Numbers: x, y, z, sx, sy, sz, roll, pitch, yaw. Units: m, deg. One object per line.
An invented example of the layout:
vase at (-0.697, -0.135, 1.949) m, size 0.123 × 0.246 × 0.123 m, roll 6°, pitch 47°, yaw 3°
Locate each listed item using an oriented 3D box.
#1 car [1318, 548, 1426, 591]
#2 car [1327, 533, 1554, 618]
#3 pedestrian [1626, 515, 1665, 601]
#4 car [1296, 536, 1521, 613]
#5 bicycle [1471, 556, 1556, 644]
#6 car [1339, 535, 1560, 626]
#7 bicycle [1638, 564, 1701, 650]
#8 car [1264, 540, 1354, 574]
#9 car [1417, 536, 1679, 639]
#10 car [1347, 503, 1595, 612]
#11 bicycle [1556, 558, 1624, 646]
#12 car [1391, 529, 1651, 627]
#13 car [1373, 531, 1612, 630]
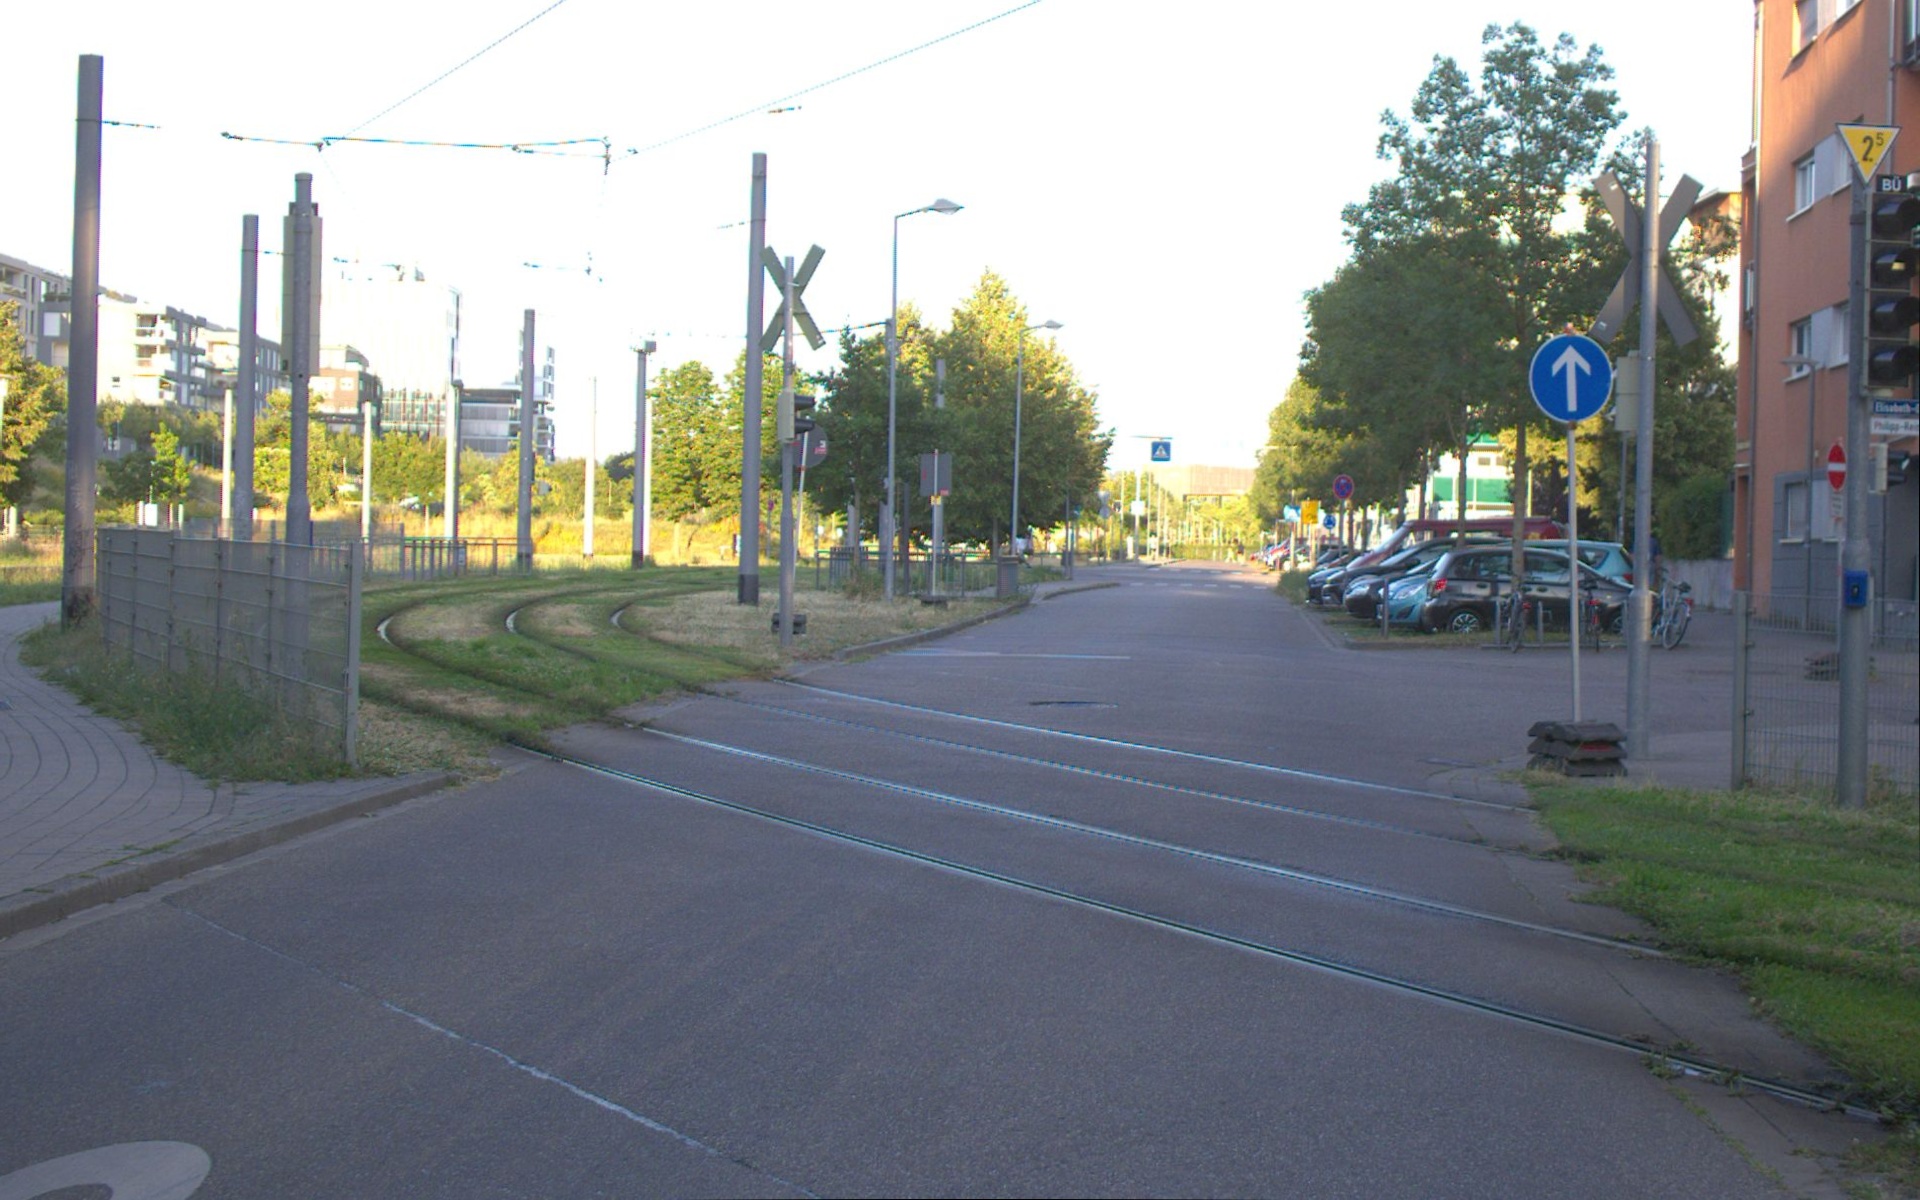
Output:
car at (15.242, -1.120, 127.279) m, size 3.803 × 1.503 × 1.679 m, roll 1°, pitch 1°, yaw 3°
car at (9.164, -0.479, 65.821) m, size 4.216 × 1.563 × 1.792 m, roll 0°, pitch 1°, yaw 5°
pedestrian at (14.081, -0.869, 70.645) m, size 0.668 × 1.737 × 0.699 m, roll 1°, pitch 1°, yaw 4°
car at (9.642, -0.565, 74.234) m, size 4.669 × 1.551 × 1.811 m, roll 1°, pitch 1°, yaw 4°
bicycle at (7.889, -0.007, 49.053) m, size 0.716 × 1.148 × 1.899 m, roll -1°, pitch 3°, yaw -6°
car at (8.703, -0.335, 61.310) m, size 3.774 × 1.490 × 1.539 m, roll 2°, pitch -1°, yaw 4°
bicycle at (10.176, 0.089, 49.351) m, size 0.529 × 1.123 × 1.963 m, roll 3°, pitch 3°, yaw 2°
car at (17.746, -2.193, 174.894) m, size 4.485 × 1.590 × 2.000 m, roll 1°, pitch 1°, yaw 6°
car at (9.096, -0.209, 53.377) m, size 3.749 × 1.468 × 1.613 m, roll 2°, pitch 1°, yaw 0°
car at (10.505, -0.879, 71.006) m, size 4.921 × 2.110 × 2.016 m, roll 1°, pitch 1°, yaw 6°
bicycle at (8.936, 0.017, 48.815) m, size 0.679 × 1.148 × 1.928 m, roll -1°, pitch 2°, yaw 3°
car at (9.080, -0.367, 55.858) m, size 4.051 × 1.563 × 1.672 m, roll 0°, pitch 1°, yaw 5°
car at (9.055, -0.352, 58.667) m, size 3.877 × 1.563 × 1.620 m, roll 2°, pitch 1°, yaw 5°
